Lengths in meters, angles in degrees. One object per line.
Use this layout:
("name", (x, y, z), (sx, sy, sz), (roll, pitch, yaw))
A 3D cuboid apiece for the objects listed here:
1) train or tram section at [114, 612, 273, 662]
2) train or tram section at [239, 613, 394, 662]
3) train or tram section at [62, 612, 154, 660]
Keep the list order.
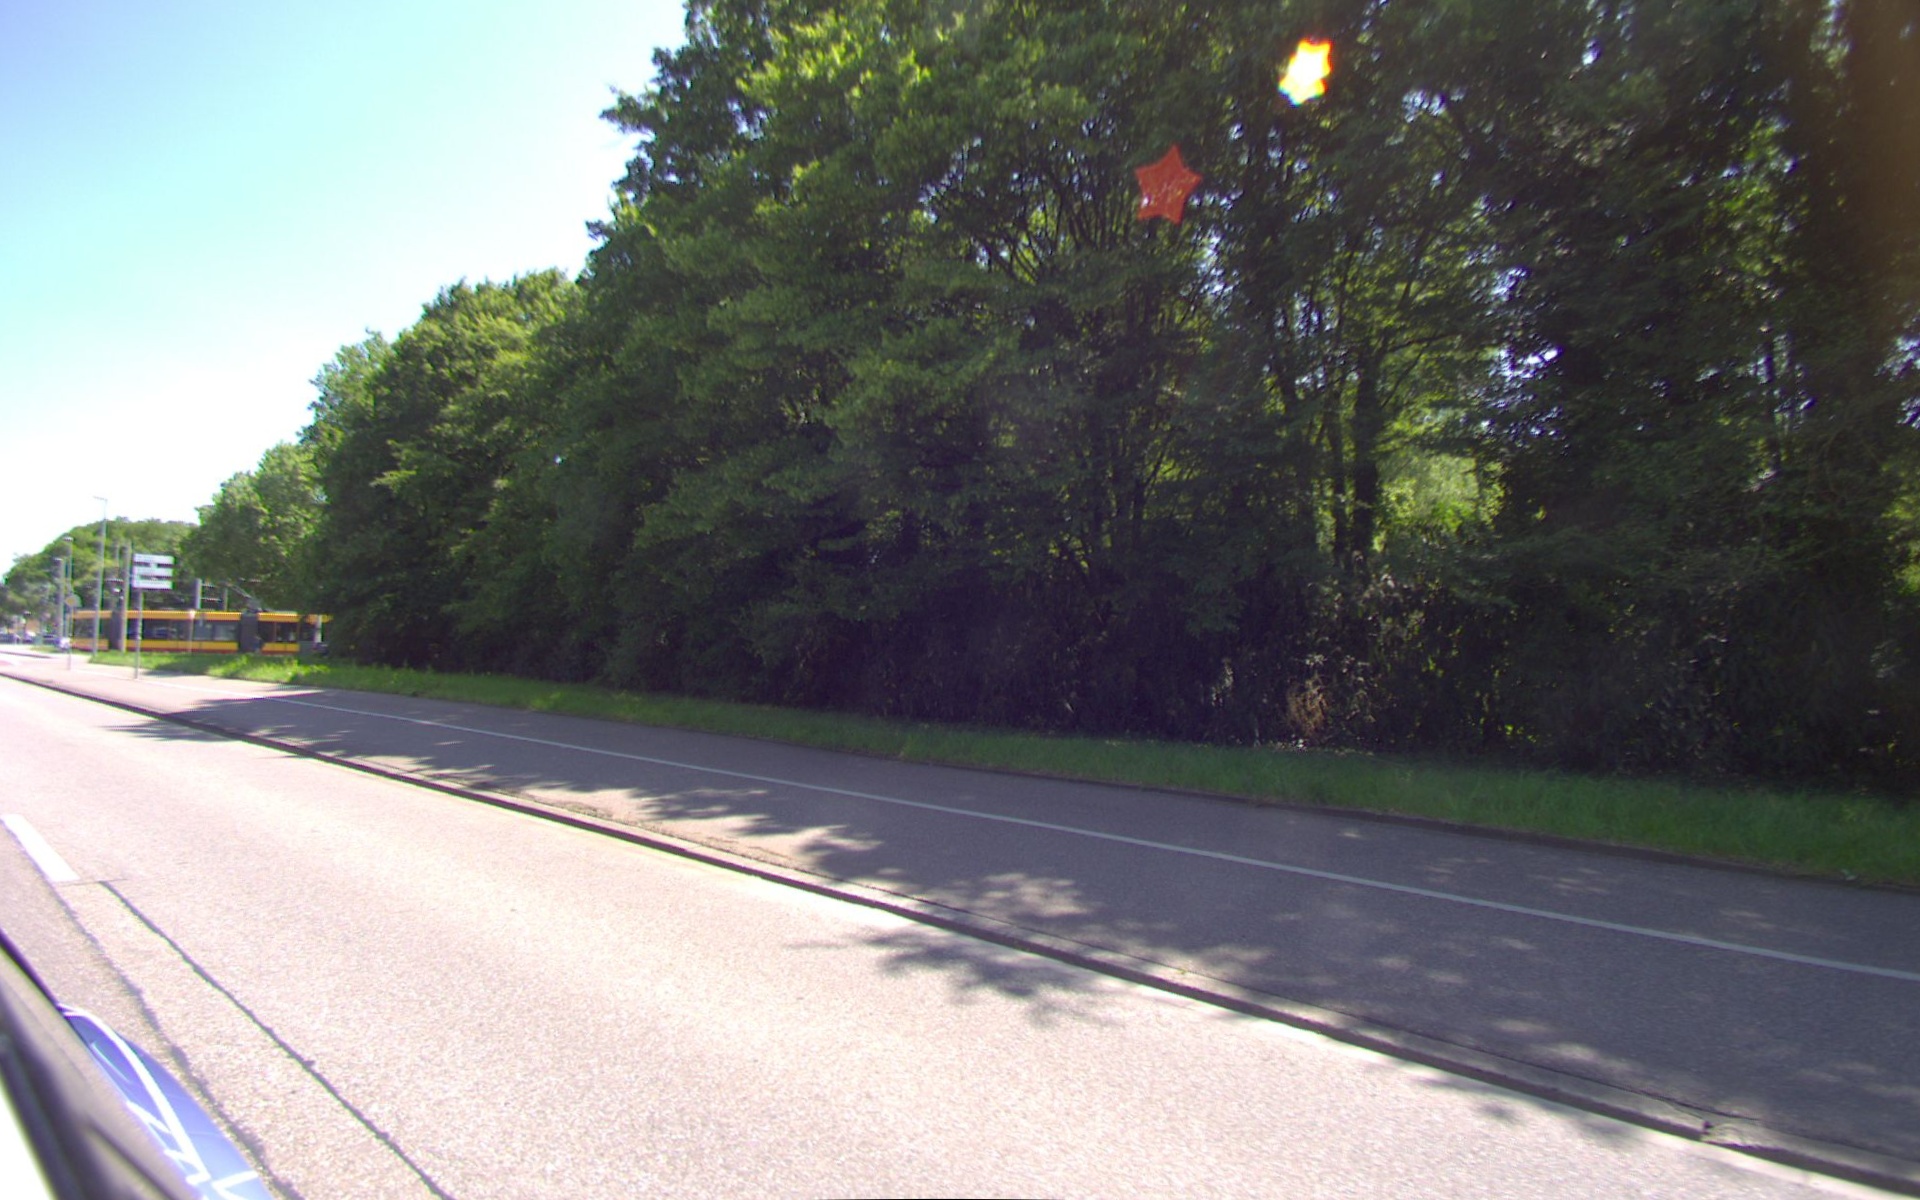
("train or tram section", (-56.609, 2.711, 74.759), (10.732, 3.492, 2.643), (0, -2, 10))
("train or tram section", (-47.618, 2.819, 75.187), (9.193, 3.492, 2.791), (1, -3, -16))
("train or tram section", (-66.204, 2.823, 78.529), (10.825, 3.492, 2.549), (-1, -4, 34))
